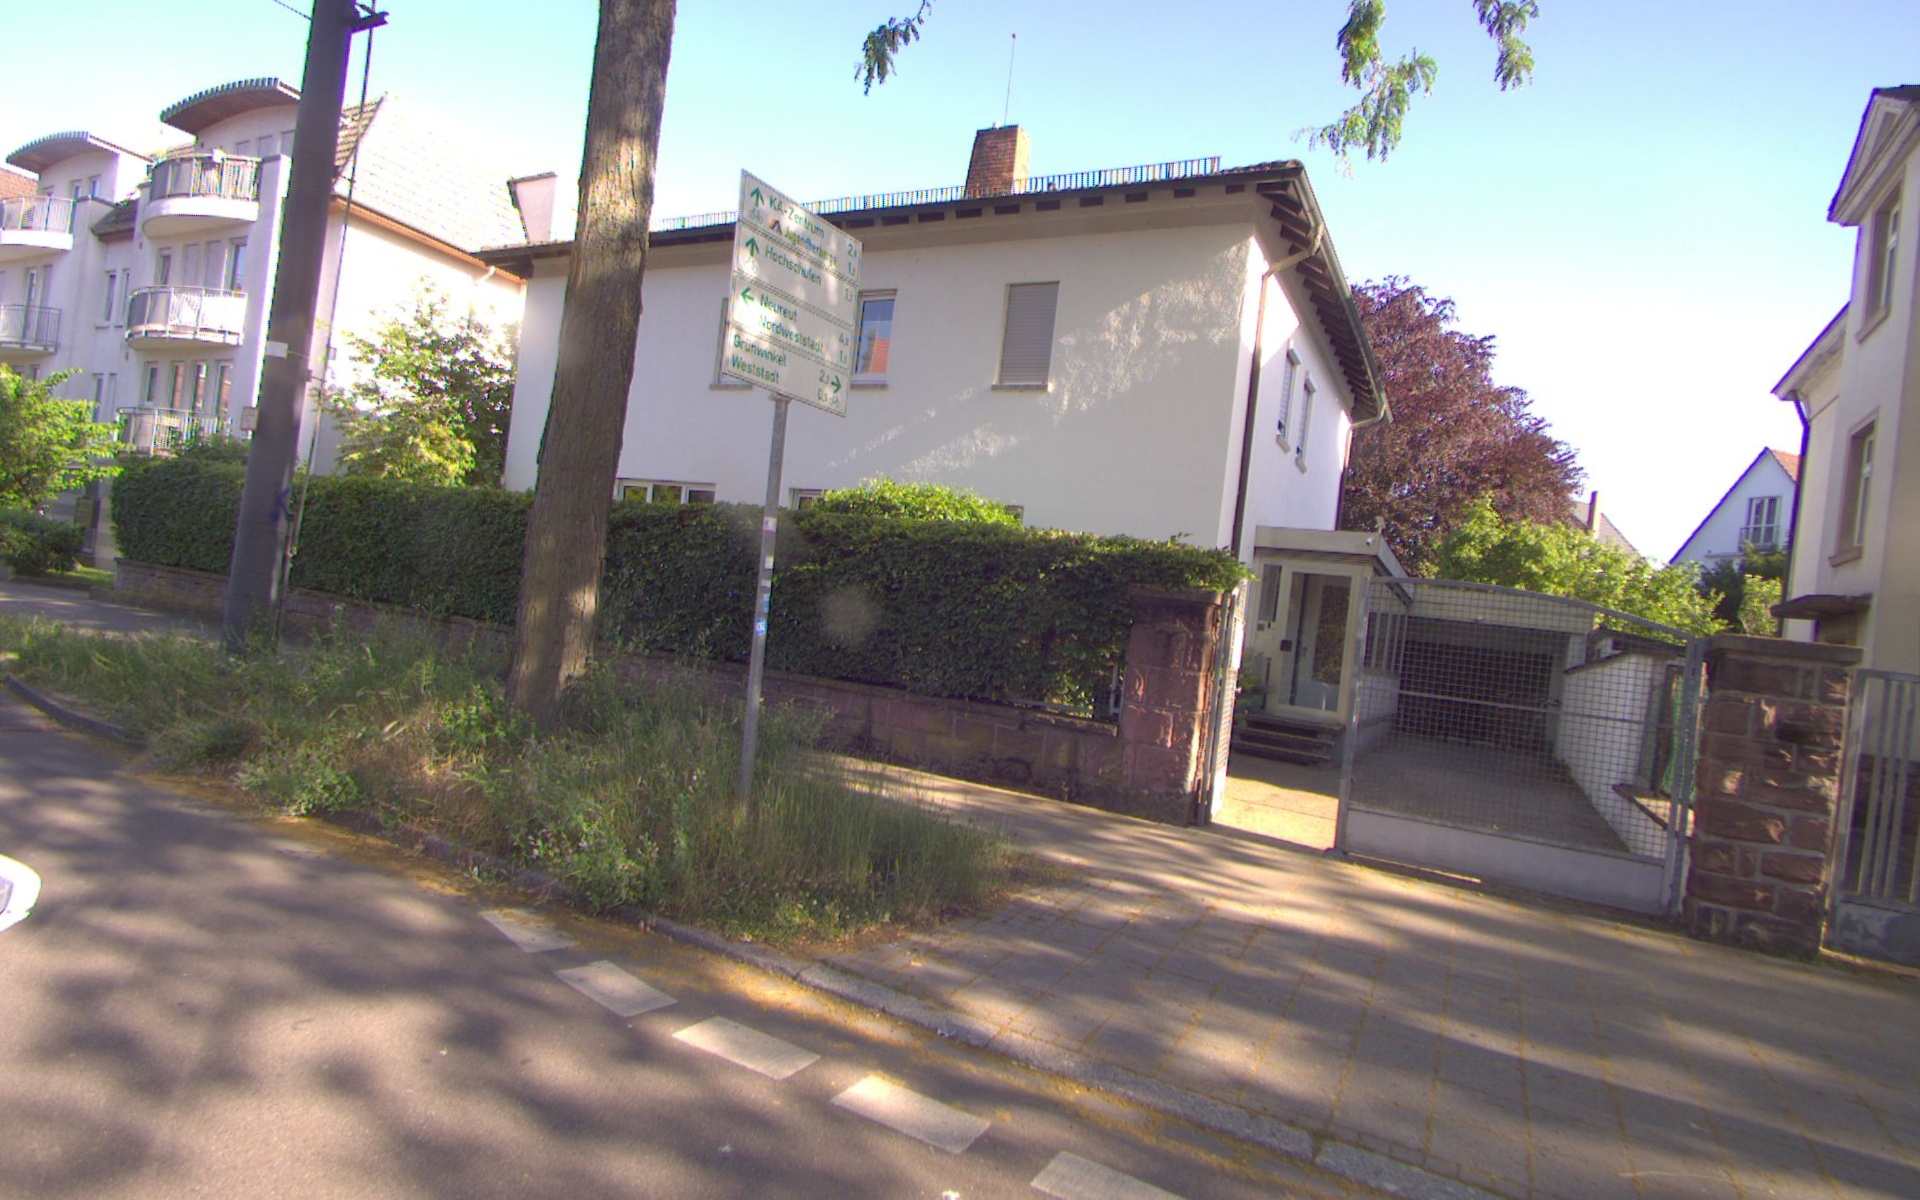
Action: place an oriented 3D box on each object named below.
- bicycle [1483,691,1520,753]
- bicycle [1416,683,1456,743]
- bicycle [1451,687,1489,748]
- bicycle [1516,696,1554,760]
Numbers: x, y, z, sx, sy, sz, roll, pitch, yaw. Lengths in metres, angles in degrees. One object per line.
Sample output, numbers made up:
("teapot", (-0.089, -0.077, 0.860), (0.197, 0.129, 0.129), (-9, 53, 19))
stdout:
("bicycle", (10.810, 2.424, 20.069), (0.512, 1.135, 1.465), (6, -2, 30))
("bicycle", (9.820, 2.323, 20.727), (0.512, 1.135, 1.465), (6, -2, 30))
("bicycle", (10.333, 2.374, 20.364), (0.512, 1.135, 1.465), (6, -2, 30))
("bicycle", (11.258, 2.488, 19.701), (0.512, 1.135, 1.465), (6, -2, 30))
